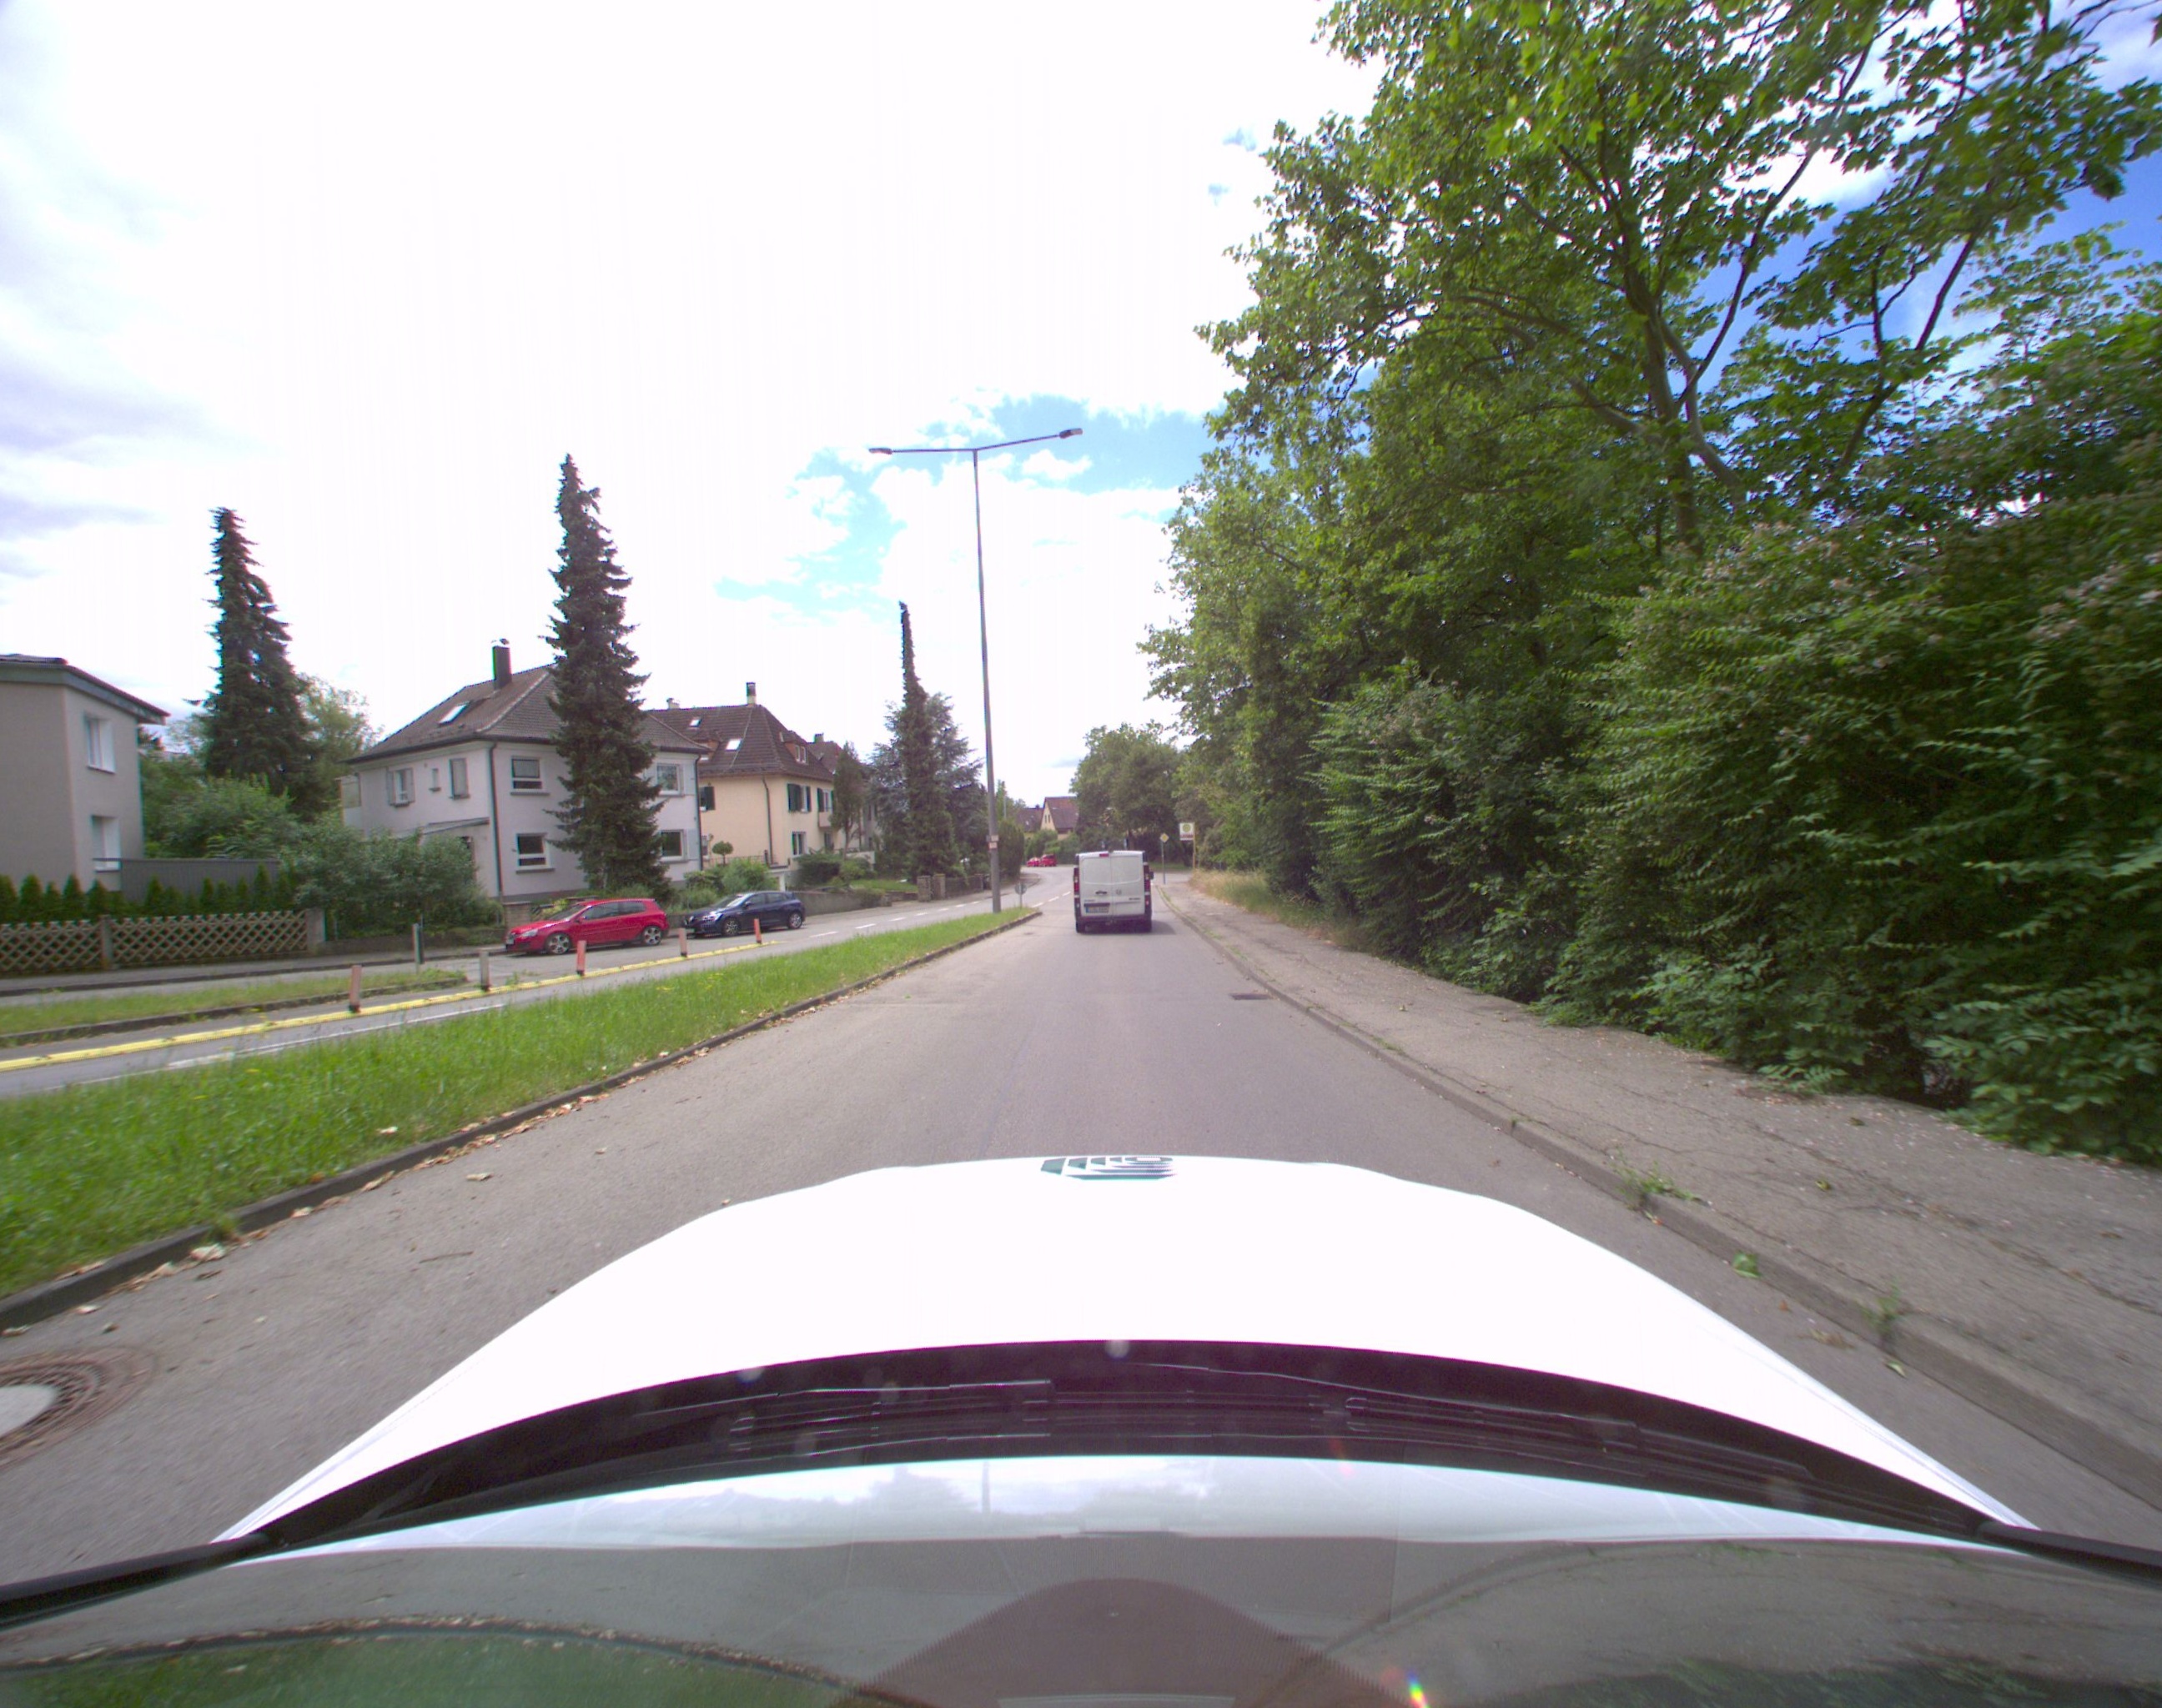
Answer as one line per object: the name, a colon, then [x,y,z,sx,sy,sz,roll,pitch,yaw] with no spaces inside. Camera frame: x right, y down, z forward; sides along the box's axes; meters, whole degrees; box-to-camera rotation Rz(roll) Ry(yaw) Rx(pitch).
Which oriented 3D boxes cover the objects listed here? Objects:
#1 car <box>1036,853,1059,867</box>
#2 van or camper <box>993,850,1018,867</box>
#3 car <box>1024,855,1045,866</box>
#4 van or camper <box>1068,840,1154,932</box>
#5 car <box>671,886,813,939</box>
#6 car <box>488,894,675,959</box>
car: [-4.864,0.852,117.172,1.767,1.797,4.914,-3,0,-20]
van or camper: [-12.515,0.714,134.804,2.076,2.674,6.278,-3,1,-24]
car: [-6.960,1.010,122.108,1.721,1.467,4.233,-3,0,-24]
van or camper: [0.882,0.696,21.266,1.915,2.013,4.836,-2,2,4]
car: [-11.568,1.963,28.091,1.710,1.474,4.341,-3,-1,29]
car: [-14.473,2.037,23.831,1.710,1.474,4.306,-3,-1,34]
